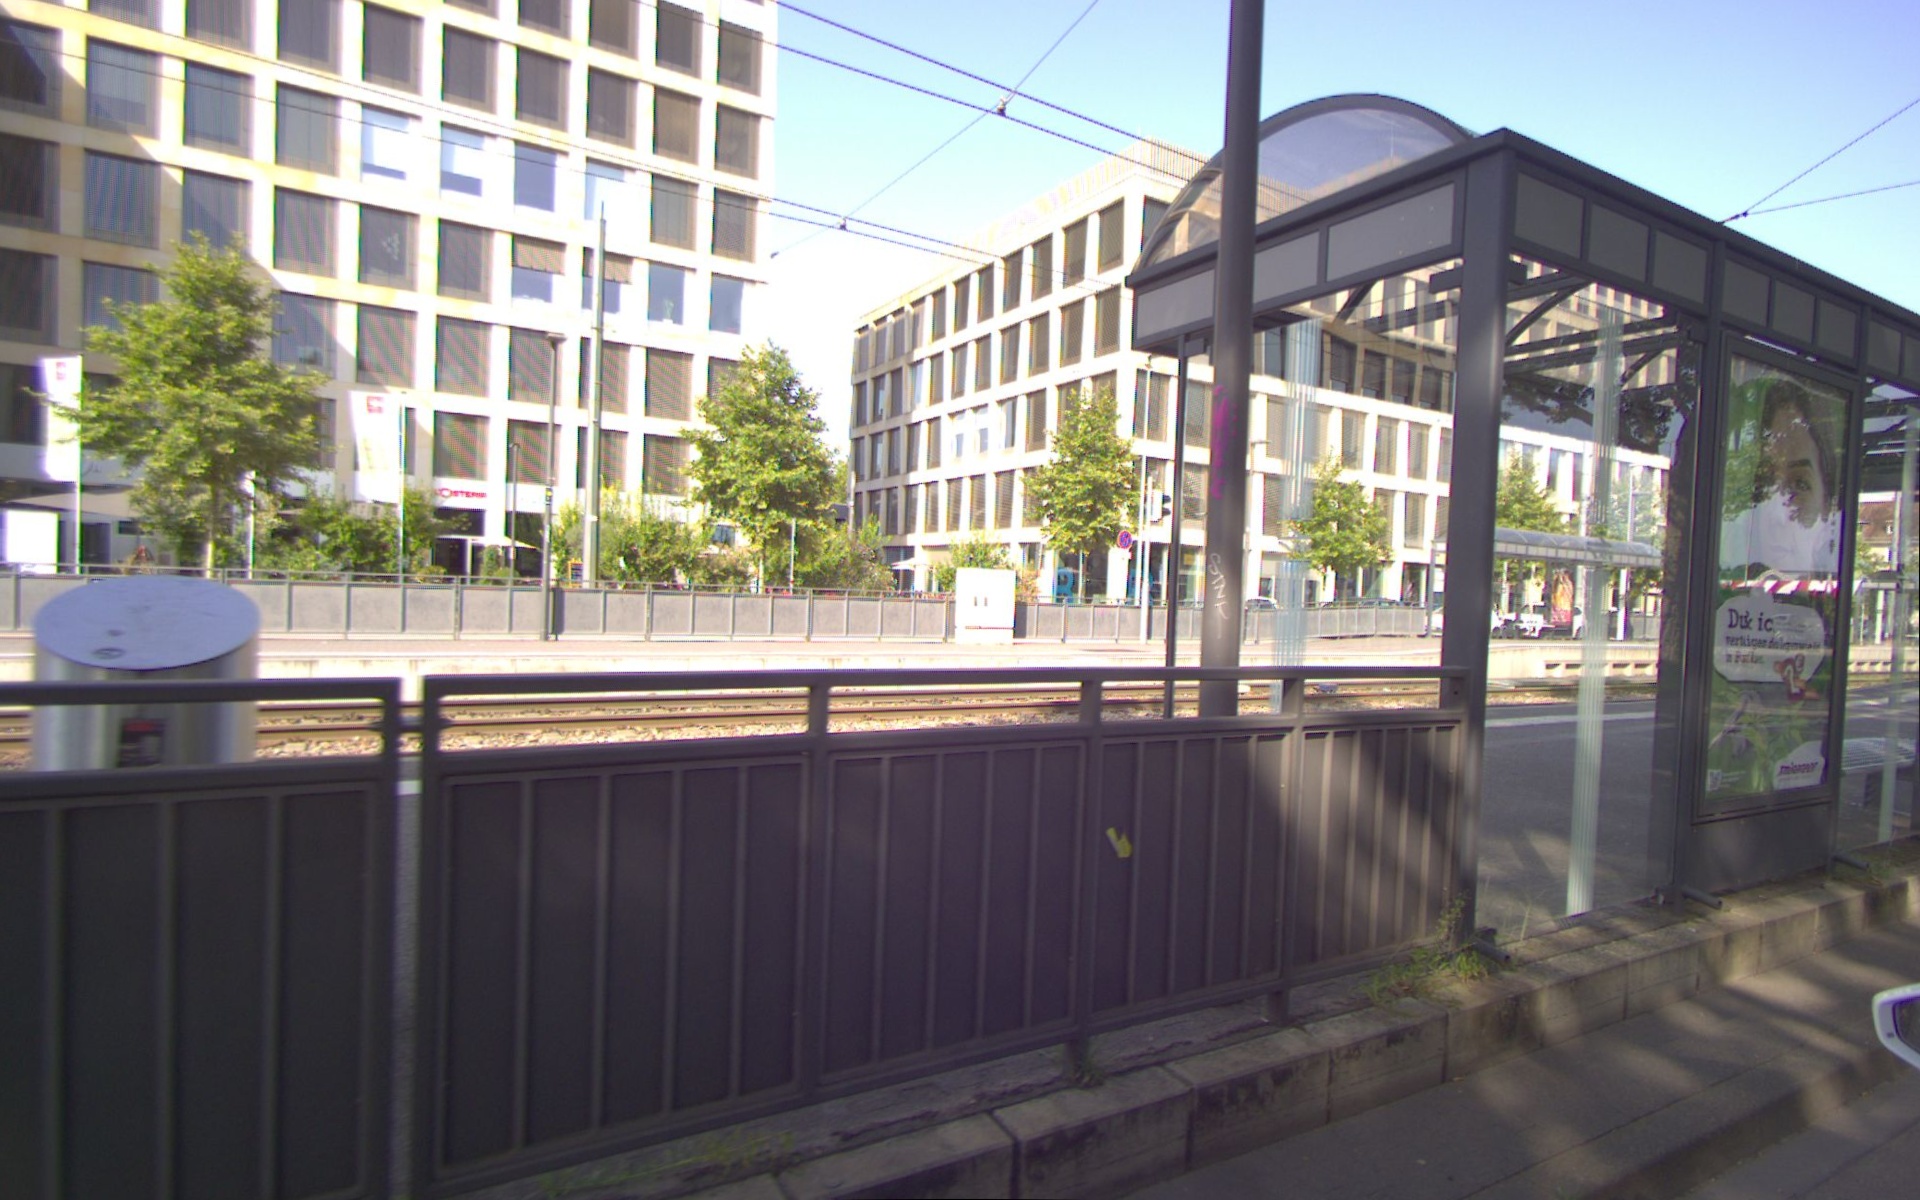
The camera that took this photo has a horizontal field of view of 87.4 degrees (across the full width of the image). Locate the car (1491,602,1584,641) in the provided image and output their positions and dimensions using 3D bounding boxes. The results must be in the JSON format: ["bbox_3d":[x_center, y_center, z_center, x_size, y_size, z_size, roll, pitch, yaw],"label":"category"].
[{"bbox_3d":[25.060,0.937,43.548,4.174,1.571,1.634,2,1,-31],"label":"car"}]

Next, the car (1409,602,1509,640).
[{"bbox_3d":[20.288,0.874,40.811,4.174,1.395,1.634,2,1,-31],"label":"car"}]

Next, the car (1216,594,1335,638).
[{"bbox_3d":[11.130,0.562,35.366,4.174,1.395,1.634,2,1,-31],"label":"car"}]

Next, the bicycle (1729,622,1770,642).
[{"bbox_3d":[28.012,1.130,35.653,1.592,0.671,0.475,2,1,-26],"label":"bicycle"}]
